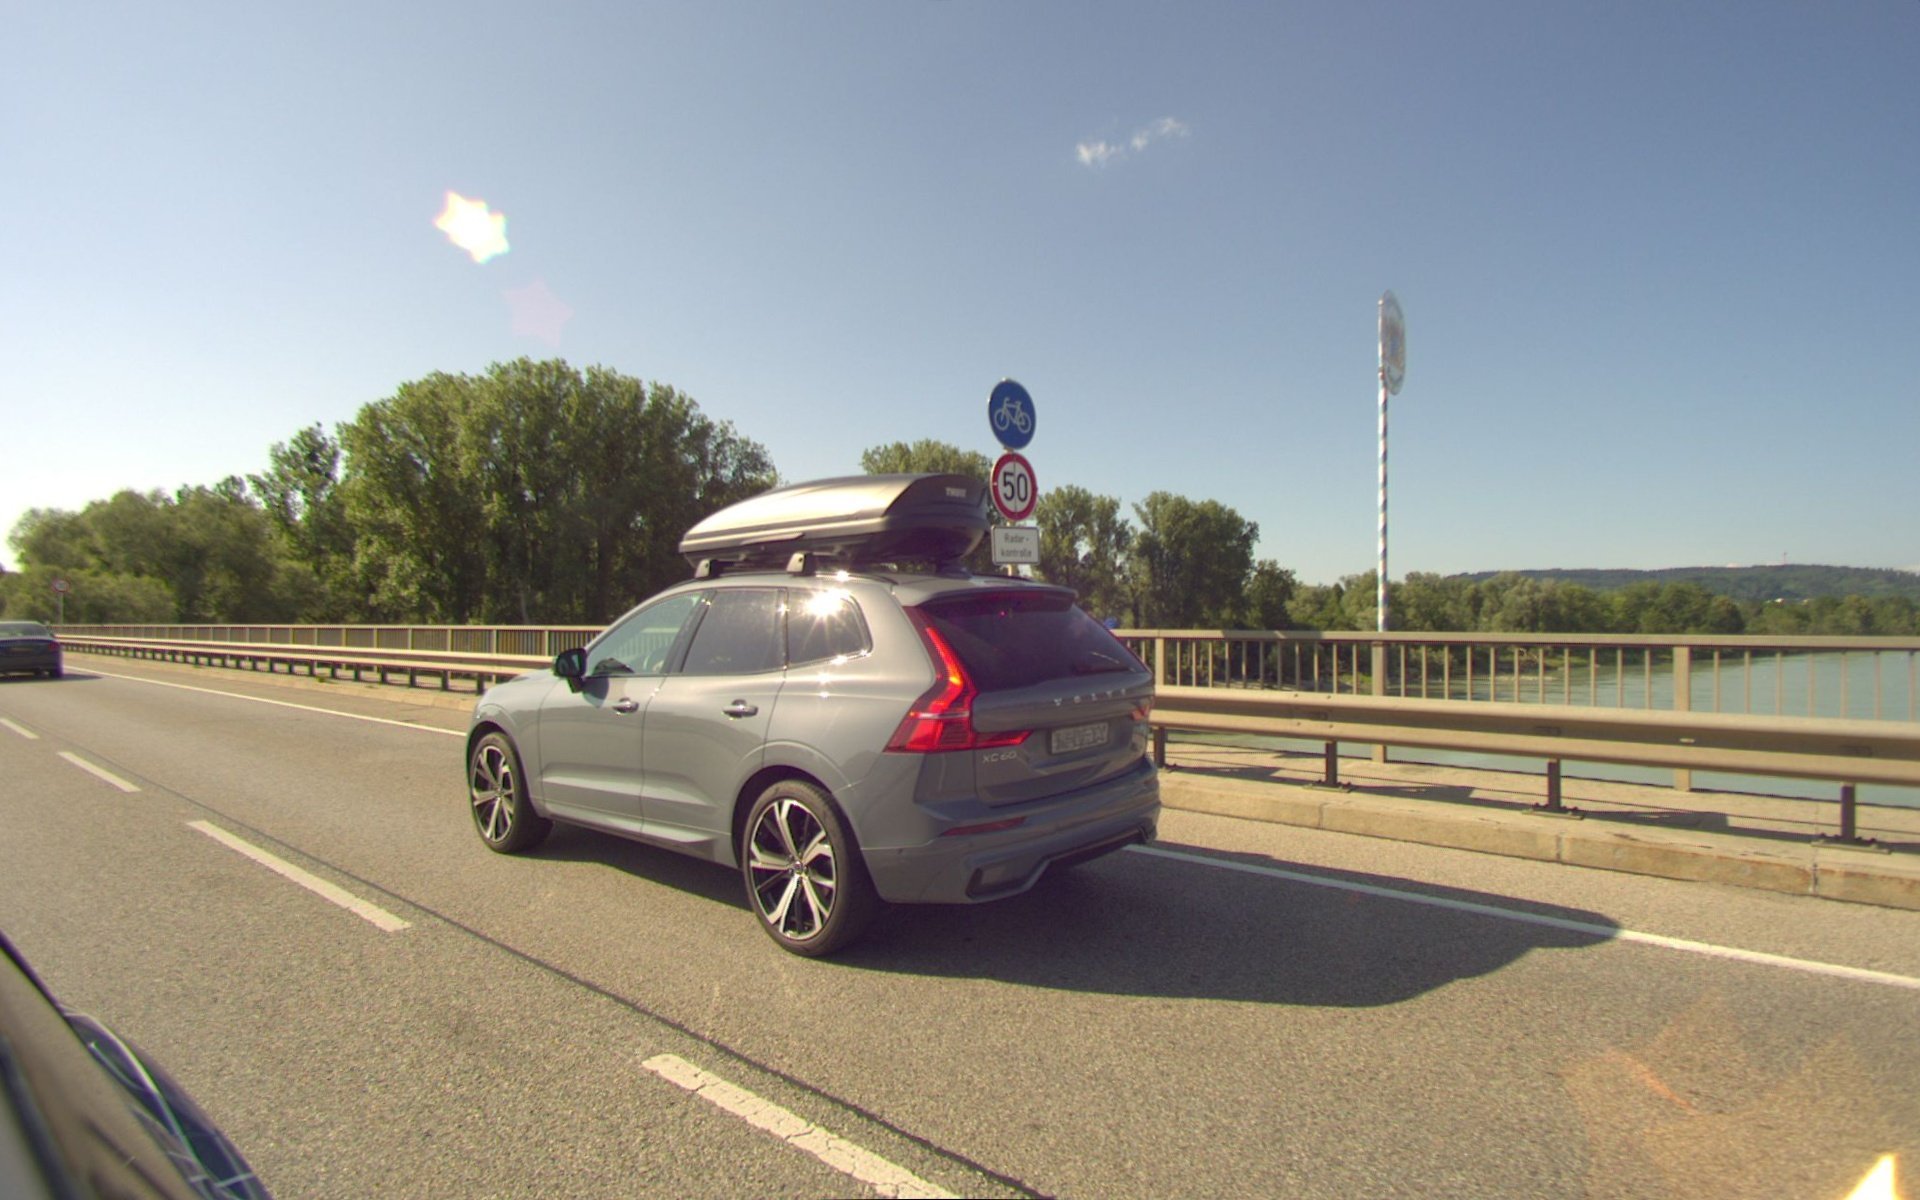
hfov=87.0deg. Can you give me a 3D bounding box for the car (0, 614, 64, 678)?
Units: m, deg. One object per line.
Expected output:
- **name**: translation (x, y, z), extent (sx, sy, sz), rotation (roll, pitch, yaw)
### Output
- **car**: translation (-23.978, 1.121, 25.316), extent (4.454, 1.458, 1.747), rotation (-1, 0, 41)

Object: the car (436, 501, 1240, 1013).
- **car**: translation (-0.995, 0.549, 5.626), extent (4.563, 1.735, 1.835), rotation (-1, 0, 41)
